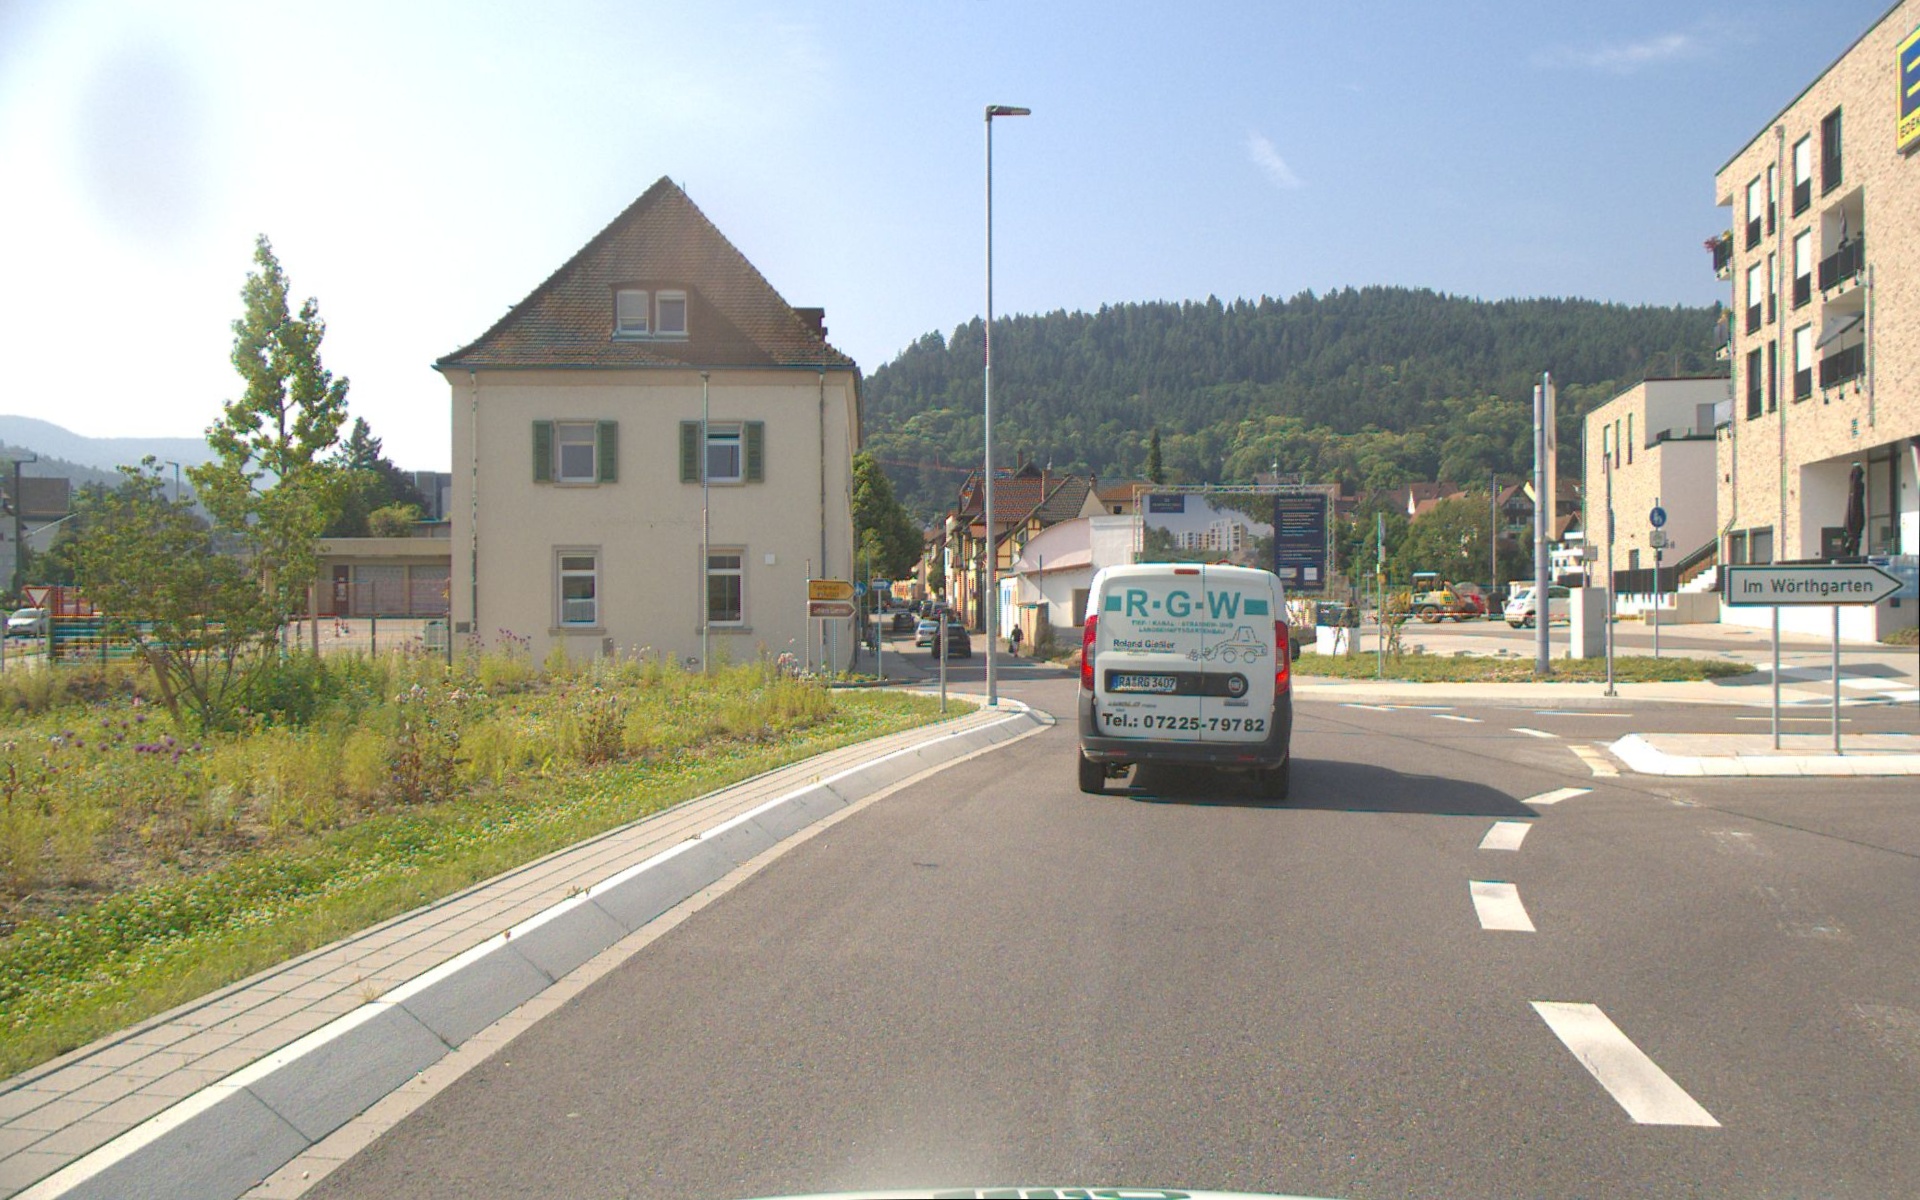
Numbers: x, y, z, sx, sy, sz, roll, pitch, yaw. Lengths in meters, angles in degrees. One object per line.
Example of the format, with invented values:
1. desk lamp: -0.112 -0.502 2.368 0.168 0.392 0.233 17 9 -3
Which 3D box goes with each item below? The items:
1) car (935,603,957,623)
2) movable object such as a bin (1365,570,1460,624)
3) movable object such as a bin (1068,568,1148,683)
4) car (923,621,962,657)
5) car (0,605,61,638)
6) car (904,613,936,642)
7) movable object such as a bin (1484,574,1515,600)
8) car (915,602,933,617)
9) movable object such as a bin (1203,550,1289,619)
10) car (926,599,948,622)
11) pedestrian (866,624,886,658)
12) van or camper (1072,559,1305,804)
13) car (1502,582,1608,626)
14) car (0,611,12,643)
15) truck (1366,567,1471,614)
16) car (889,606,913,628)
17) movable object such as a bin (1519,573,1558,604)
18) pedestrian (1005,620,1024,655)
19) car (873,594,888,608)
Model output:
1. car: -1.253 1.154 146.025 1.775 1.624 3.924 2 1 -3
2. movable object such as a bin: 23.731 -0.149 86.700 4.518 2.614 1.925 -2 -1 22
3. movable object such as a bin: 5.438 0.919 61.774 2.248 3.921 7.798 2 0 0
4. car: -0.896 1.936 82.935 1.774 1.624 3.924 2 1 -3
5. car: -46.270 1.055 82.233 1.679 1.422 3.989 2 1 -12
6. car: -2.412 1.638 99.523 1.774 1.624 3.924 2 1 -3
7. movable object such as a bin: 27.820 -0.660 85.296 1.268 1.290 1.321 2 1 6
8. car: -3.759 0.973 172.547 1.637 1.534 3.995 -1 0 -6
9. movable object such as a bin: 16.044 -0.859 92.395 2.798 3.685 5.723 2 1 31
10. car: -2.176 0.992 156.112 1.834 2.049 3.997 0 0 -4
11. pedestrian: -4.140 2.005 81.537 0.939 1.660 0.757 0 -1 -4
12. van or camper: 2.134 0.643 14.895 1.789 1.877 4.192 0 -1 10
13. car: 22.274 0.159 61.973 3.338 1.521 1.593 -2 -2 -5
14. car: -44.360 1.233 74.485 1.679 1.422 3.989 2 1 -12
15. truck: 24.970 -0.487 90.032 5.206 2.305 2.218 -2 -1 22
16. car: -4.718 1.313 132.004 1.774 1.624 3.924 2 1 -3
17. movable object such as a bin: 28.885 -0.585 82.580 1.546 1.489 1.321 2 1 6
18. pedestrian: 2.734 1.880 83.489 0.871 1.712 0.718 1 -1 -4
19. car: -10.013 0.102 209.062 1.775 1.624 3.923 2 1 -4
